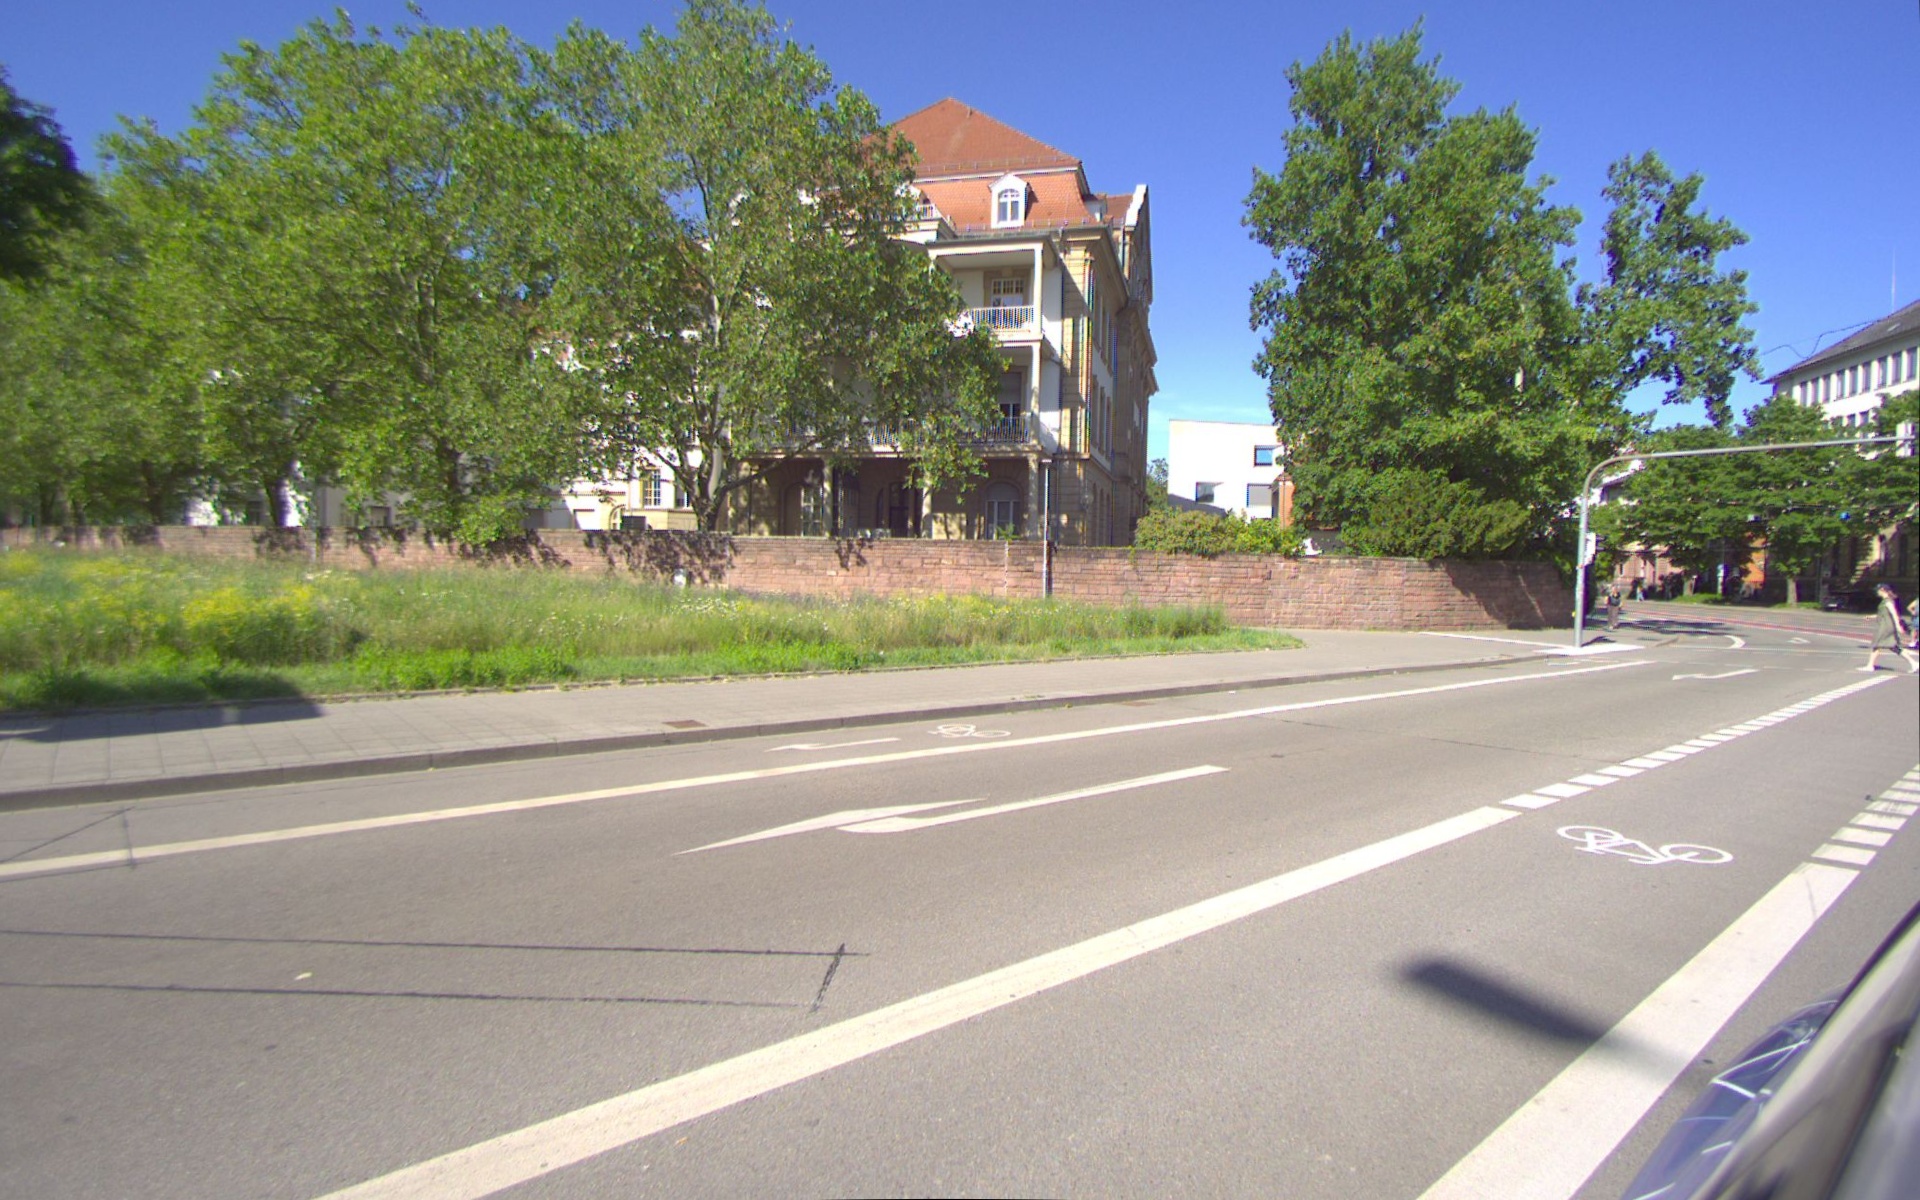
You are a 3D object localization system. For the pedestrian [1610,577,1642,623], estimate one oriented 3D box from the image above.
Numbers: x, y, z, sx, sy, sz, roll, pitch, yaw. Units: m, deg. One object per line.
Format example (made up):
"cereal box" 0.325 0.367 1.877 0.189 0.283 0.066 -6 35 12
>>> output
"pedestrian" 25.528 -0.017 38.808 0.935 1.742 0.983 2 2 37

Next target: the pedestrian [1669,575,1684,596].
"pedestrian" 67.024 -1.356 94.663 0.742 1.836 0.981 3 -3 -29

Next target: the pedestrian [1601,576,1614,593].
"pedestrian" 69.367 -1.687 108.412 0.745 1.835 0.978 1 1 10

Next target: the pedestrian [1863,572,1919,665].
"pedestrian" 19.649 0.364 21.046 1.225 1.878 0.815 3 2 43
